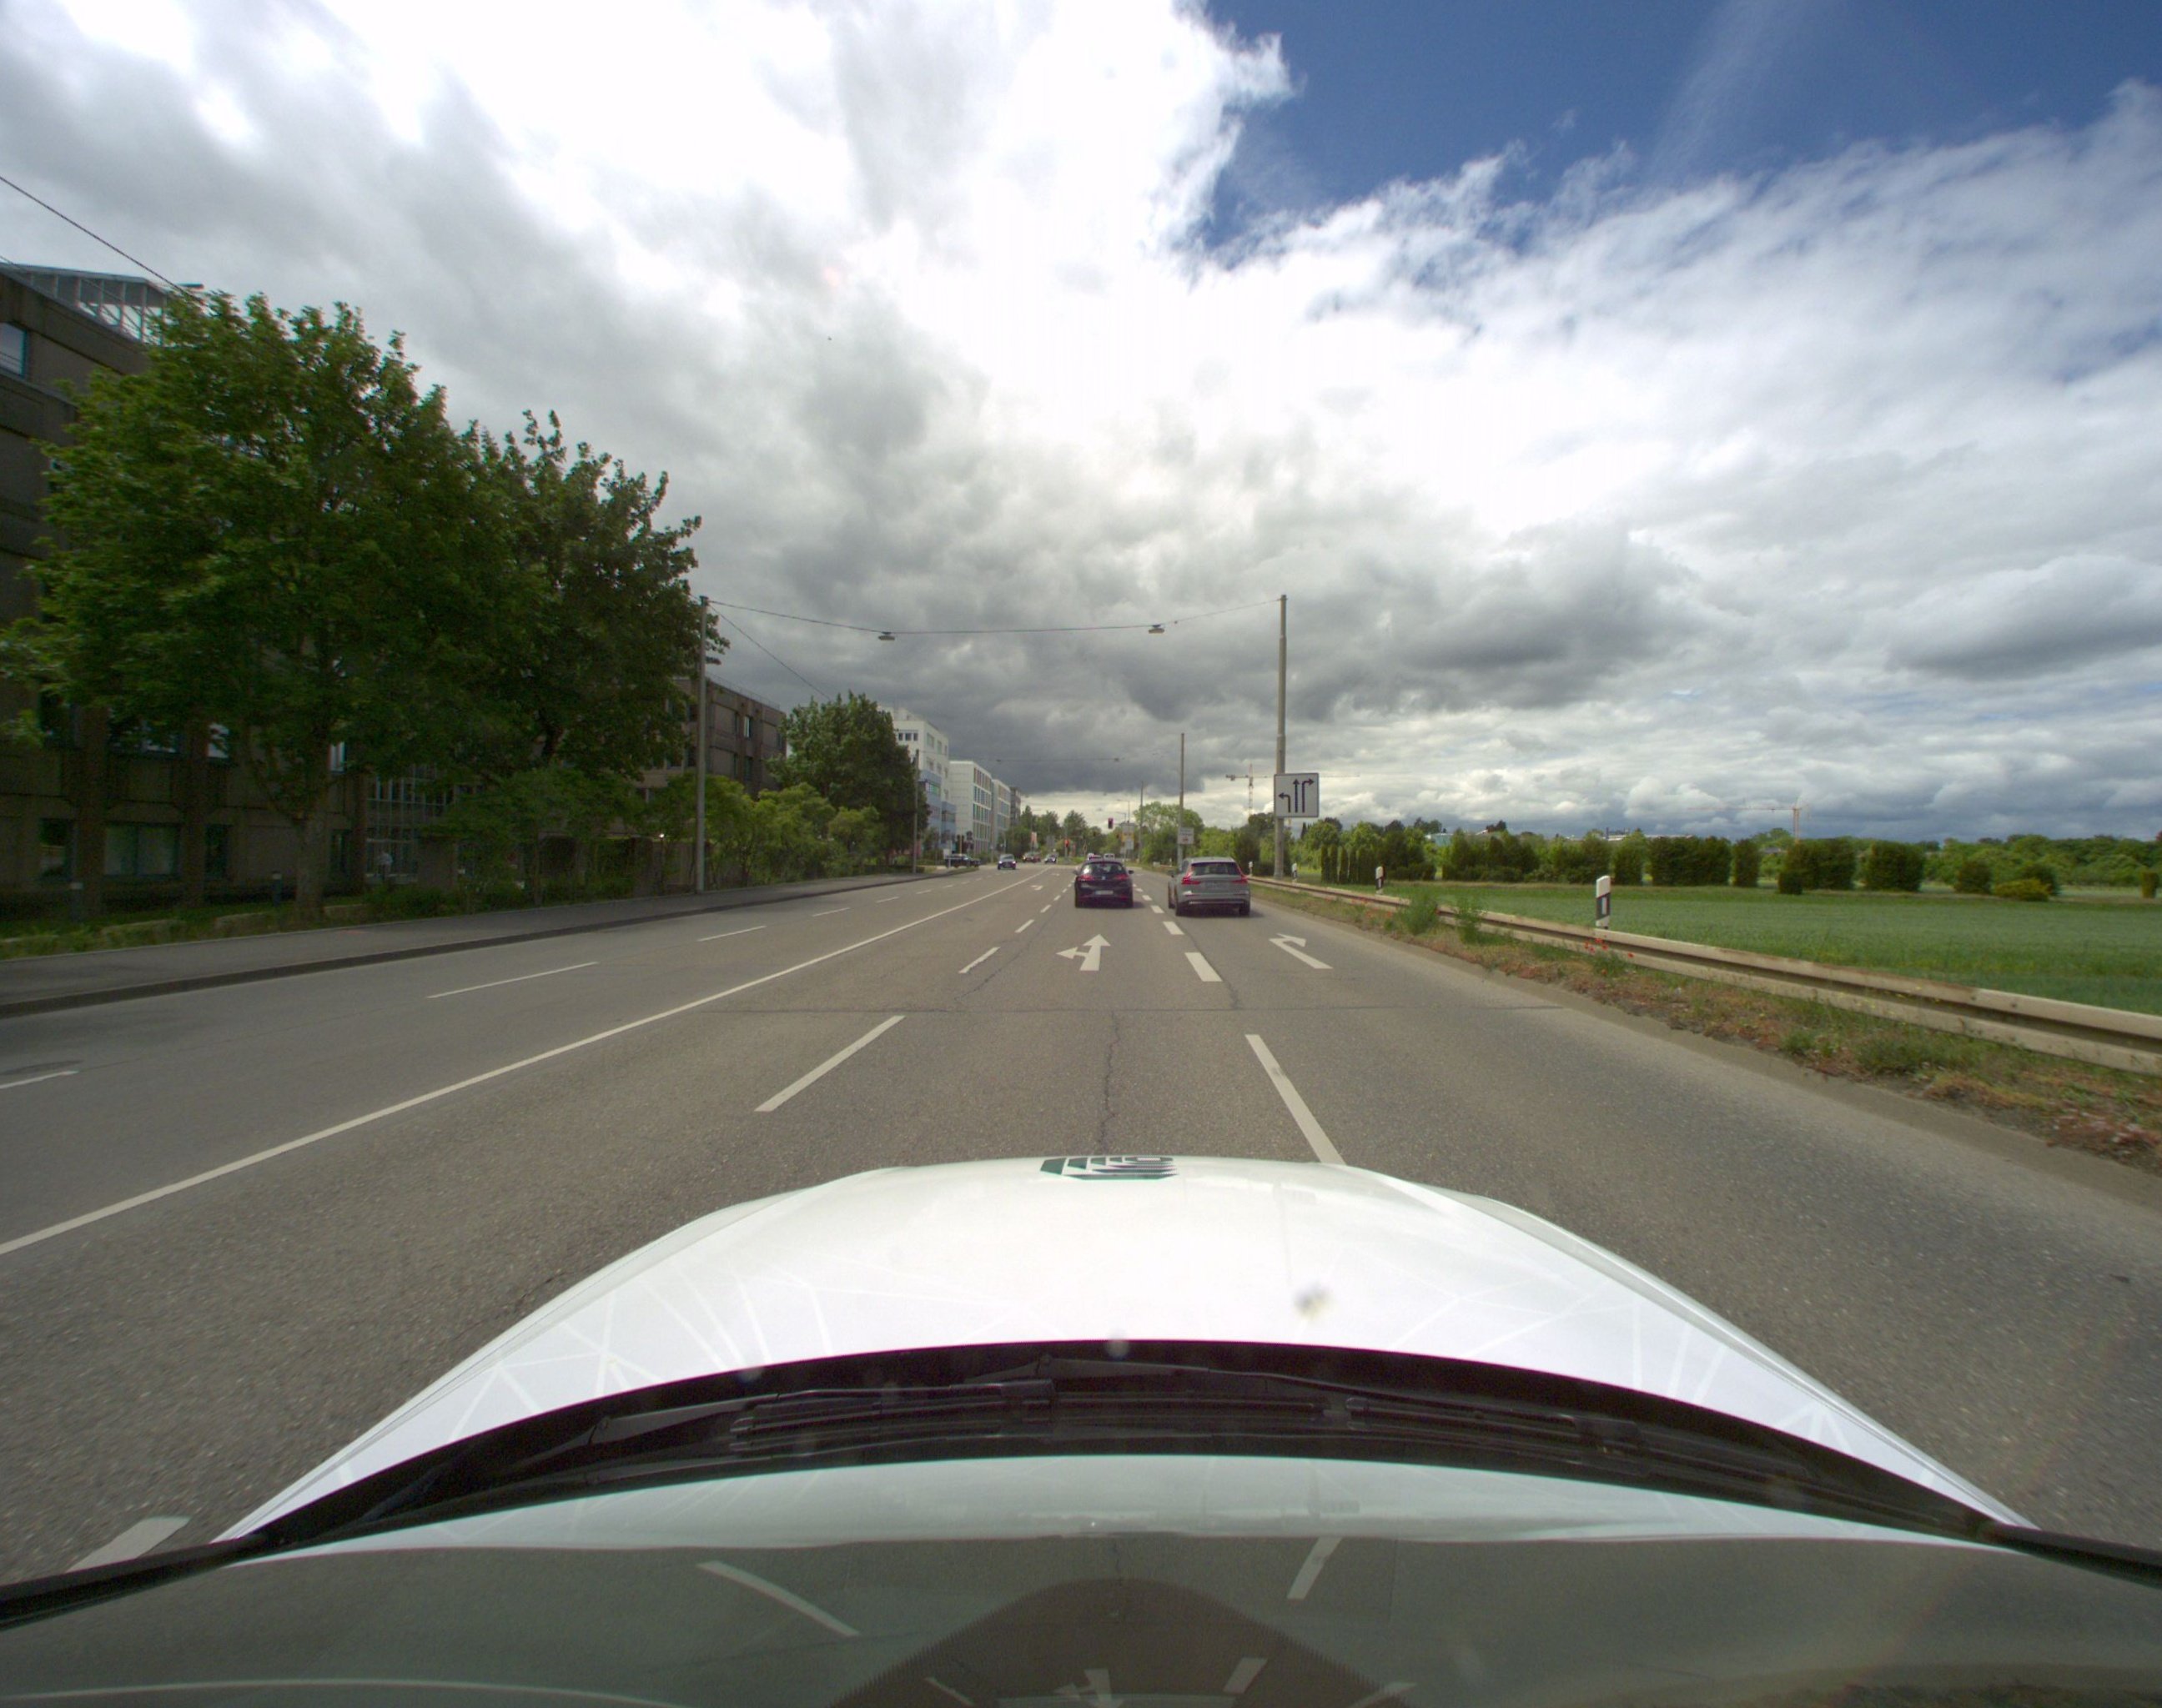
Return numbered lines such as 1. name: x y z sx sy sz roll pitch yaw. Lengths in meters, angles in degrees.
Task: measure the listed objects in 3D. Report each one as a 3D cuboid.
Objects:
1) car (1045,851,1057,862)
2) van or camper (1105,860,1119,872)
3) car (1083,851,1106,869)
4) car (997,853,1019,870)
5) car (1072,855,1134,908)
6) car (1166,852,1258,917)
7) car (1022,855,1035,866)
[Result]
1. car: -4.603 0.368 126.719 1.663 1.524 4.007 -1 1 -1
2. van or camper: 5.278 2.093 138.664 1.895 1.926 3.995 3 -1 -3
3. car: 1.275 0.574 78.238 1.978 1.590 4.224 1 1 -1
4. car: -7.379 0.778 82.713 1.790 1.585 4.312 4 -1 0
5. car: 0.735 0.801 25.090 1.740 1.484 4.003 0 -1 3
6. car: 3.371 0.758 21.678 1.950 1.525 4.343 -1 -1 3
7. car: -8.201 0.976 128.236 1.746 1.631 3.999 -1 0 -1
